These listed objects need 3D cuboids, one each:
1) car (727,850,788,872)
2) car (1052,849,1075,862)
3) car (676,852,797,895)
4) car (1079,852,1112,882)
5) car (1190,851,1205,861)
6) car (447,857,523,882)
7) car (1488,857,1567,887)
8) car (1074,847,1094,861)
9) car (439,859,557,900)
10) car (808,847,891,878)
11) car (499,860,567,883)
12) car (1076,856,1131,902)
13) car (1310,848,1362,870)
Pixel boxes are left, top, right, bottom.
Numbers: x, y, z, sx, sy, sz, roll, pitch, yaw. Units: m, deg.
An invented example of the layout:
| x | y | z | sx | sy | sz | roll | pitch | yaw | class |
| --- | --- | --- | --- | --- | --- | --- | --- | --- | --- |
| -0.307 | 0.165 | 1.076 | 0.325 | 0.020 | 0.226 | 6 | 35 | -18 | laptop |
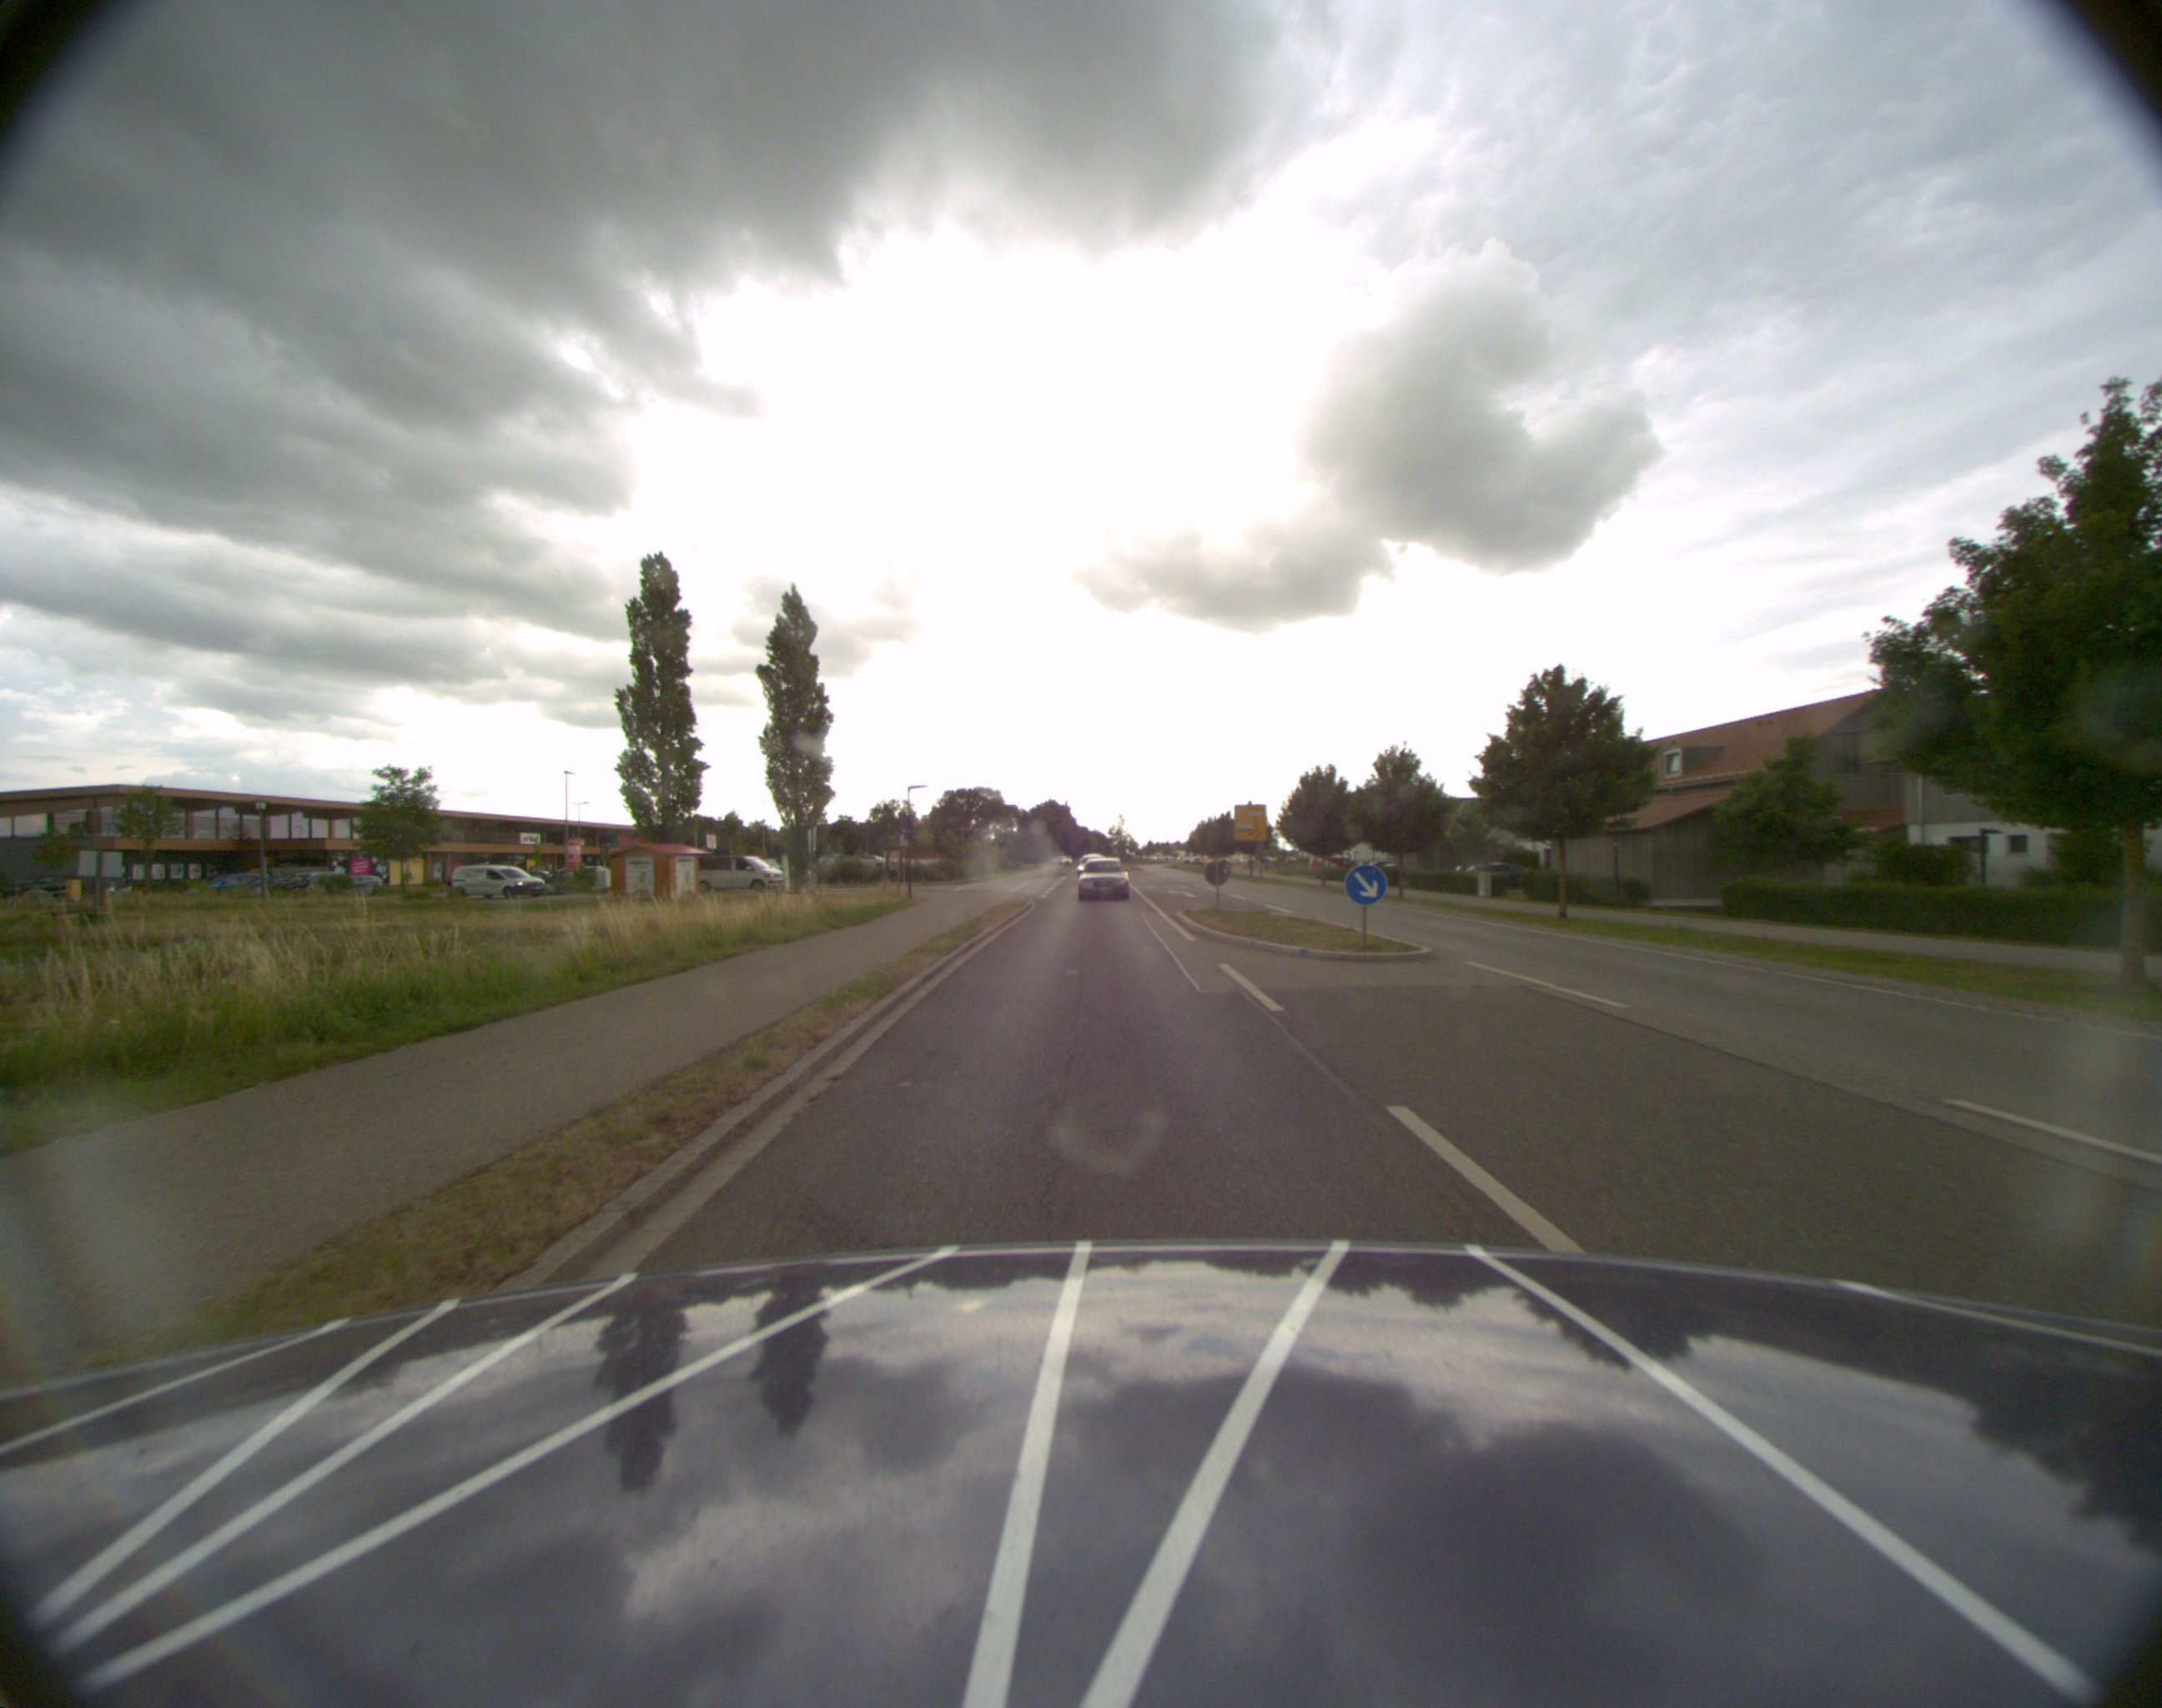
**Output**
| x | y | z | sx | sy | sz | roll | pitch | yaw | class |
| --- | --- | --- | --- | --- | --- | --- | --- | --- | --- |
| -34.372 | 0.730 | 80.820 | 5.527 | 2.002 | 1.999 | -3 | 1 | -5 | car |
| -3.024 | 0.306 | 128.730 | 1.795 | 2.002 | 4.456 | -3 | 1 | -33 | car |
| -18.671 | 1.020 | 41.364 | 5.313 | 2.002 | 2.562 | -3 | 1 | 2 | car |
| 0.832 | 0.701 | 44.023 | 1.763 | 1.495 | 4.690 | -3 | 1 | 1 | car |
| 21.348 | 0.376 | 138.966 | 1.999 | 1.772 | 3.999 | -3 | 1 | -1 | car |
| -52.851 | 1.347 | 67.428 | 4.857 | 2.002 | 1.998 | -3 | 1 | -7 | car |
| 24.890 | 0.990 | 42.437 | 3.592 | 1.431 | 1.301 | -3 | 1 | 1 | car |
| 0.475 | -0.014 | 119.469 | 2.001 | 2.002 | 3.994 | -3 | 1 | -17 | car |
| -32.437 | 1.390 | 42.352 | 5.310 | 2.002 | 2.001 | -2 | 1 | 9 | car |
| -17.202 | 0.615 | 56.639 | 5.527 | 2.002 | 1.999 | -3 | 1 | -5 | car |
| -53.409 | 1.678 | 74.141 | 4.857 | 2.002 | 1.998 | -3 | 1 | -7 | car |
| 0.866 | 0.839 | 27.657 | 1.763 | 1.410 | 4.520 | -3 | 1 | 3 | car |
| 25.398 | 0.510 | 75.793 | 4.568 | 2.002 | 2.000 | -2 | 1 | 5 | car |
